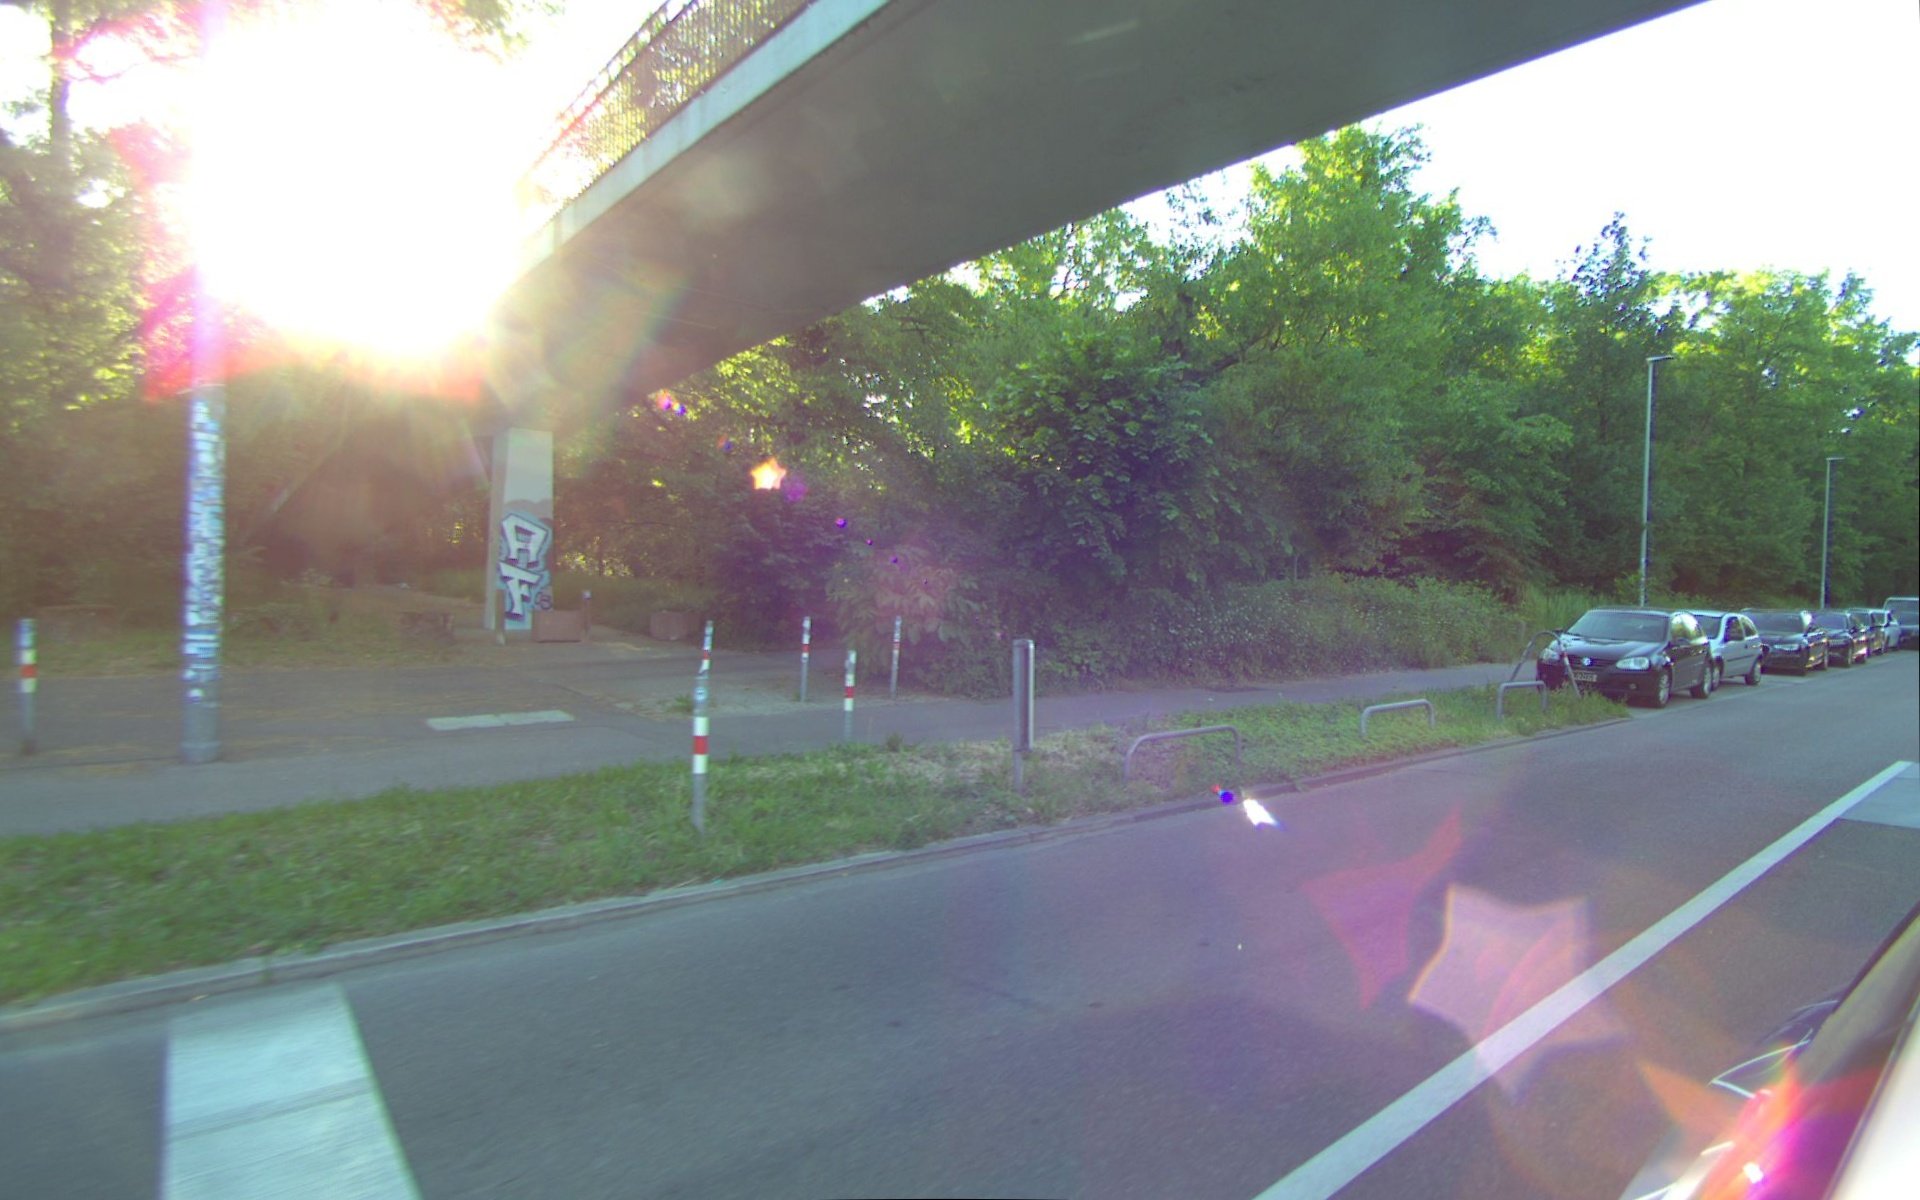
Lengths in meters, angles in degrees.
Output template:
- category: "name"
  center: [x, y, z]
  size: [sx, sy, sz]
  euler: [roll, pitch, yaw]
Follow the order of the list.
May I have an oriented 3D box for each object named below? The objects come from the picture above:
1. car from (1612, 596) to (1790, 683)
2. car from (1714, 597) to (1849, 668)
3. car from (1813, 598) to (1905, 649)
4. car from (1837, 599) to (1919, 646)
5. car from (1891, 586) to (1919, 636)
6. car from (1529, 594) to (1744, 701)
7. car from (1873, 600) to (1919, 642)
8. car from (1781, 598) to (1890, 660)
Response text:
- category: "car"
  center: [14.637, 0.705, 19.934]
  size: [3.940, 1.471, 1.780]
  euler: [0, 2, -38]
- category: "car"
  center: [19.943, 0.712, 24.484]
  size: [4.951, 1.471, 1.777]
  euler: [0, 3, -42]
- category: "car"
  center: [28.487, 0.698, 32.025]
  size: [3.873, 1.471, 1.589]
  euler: [0, 2, -40]
- category: "car"
  center: [32.086, 0.741, 35.310]
  size: [3.730, 1.471, 1.590]
  euler: [0, 2, -39]
- category: "car"
  center: [40.850, 0.448, 42.525]
  size: [5.378, 2.005, 1.873]
  euler: [0, 2, -40]
- category: "car"
  center: [11.223, 0.679, 16.688]
  size: [4.310, 1.471, 1.778]
  euler: [0, 2, -40]
- category: "car"
  center: [36.135, 0.772, 38.231]
  size: [4.292, 1.423, 1.873]
  euler: [0, 2, -40]
- category: "car"
  center: [24.054, 0.726, 27.748]
  size: [4.814, 1.471, 1.640]
  euler: [0, 3, -42]
